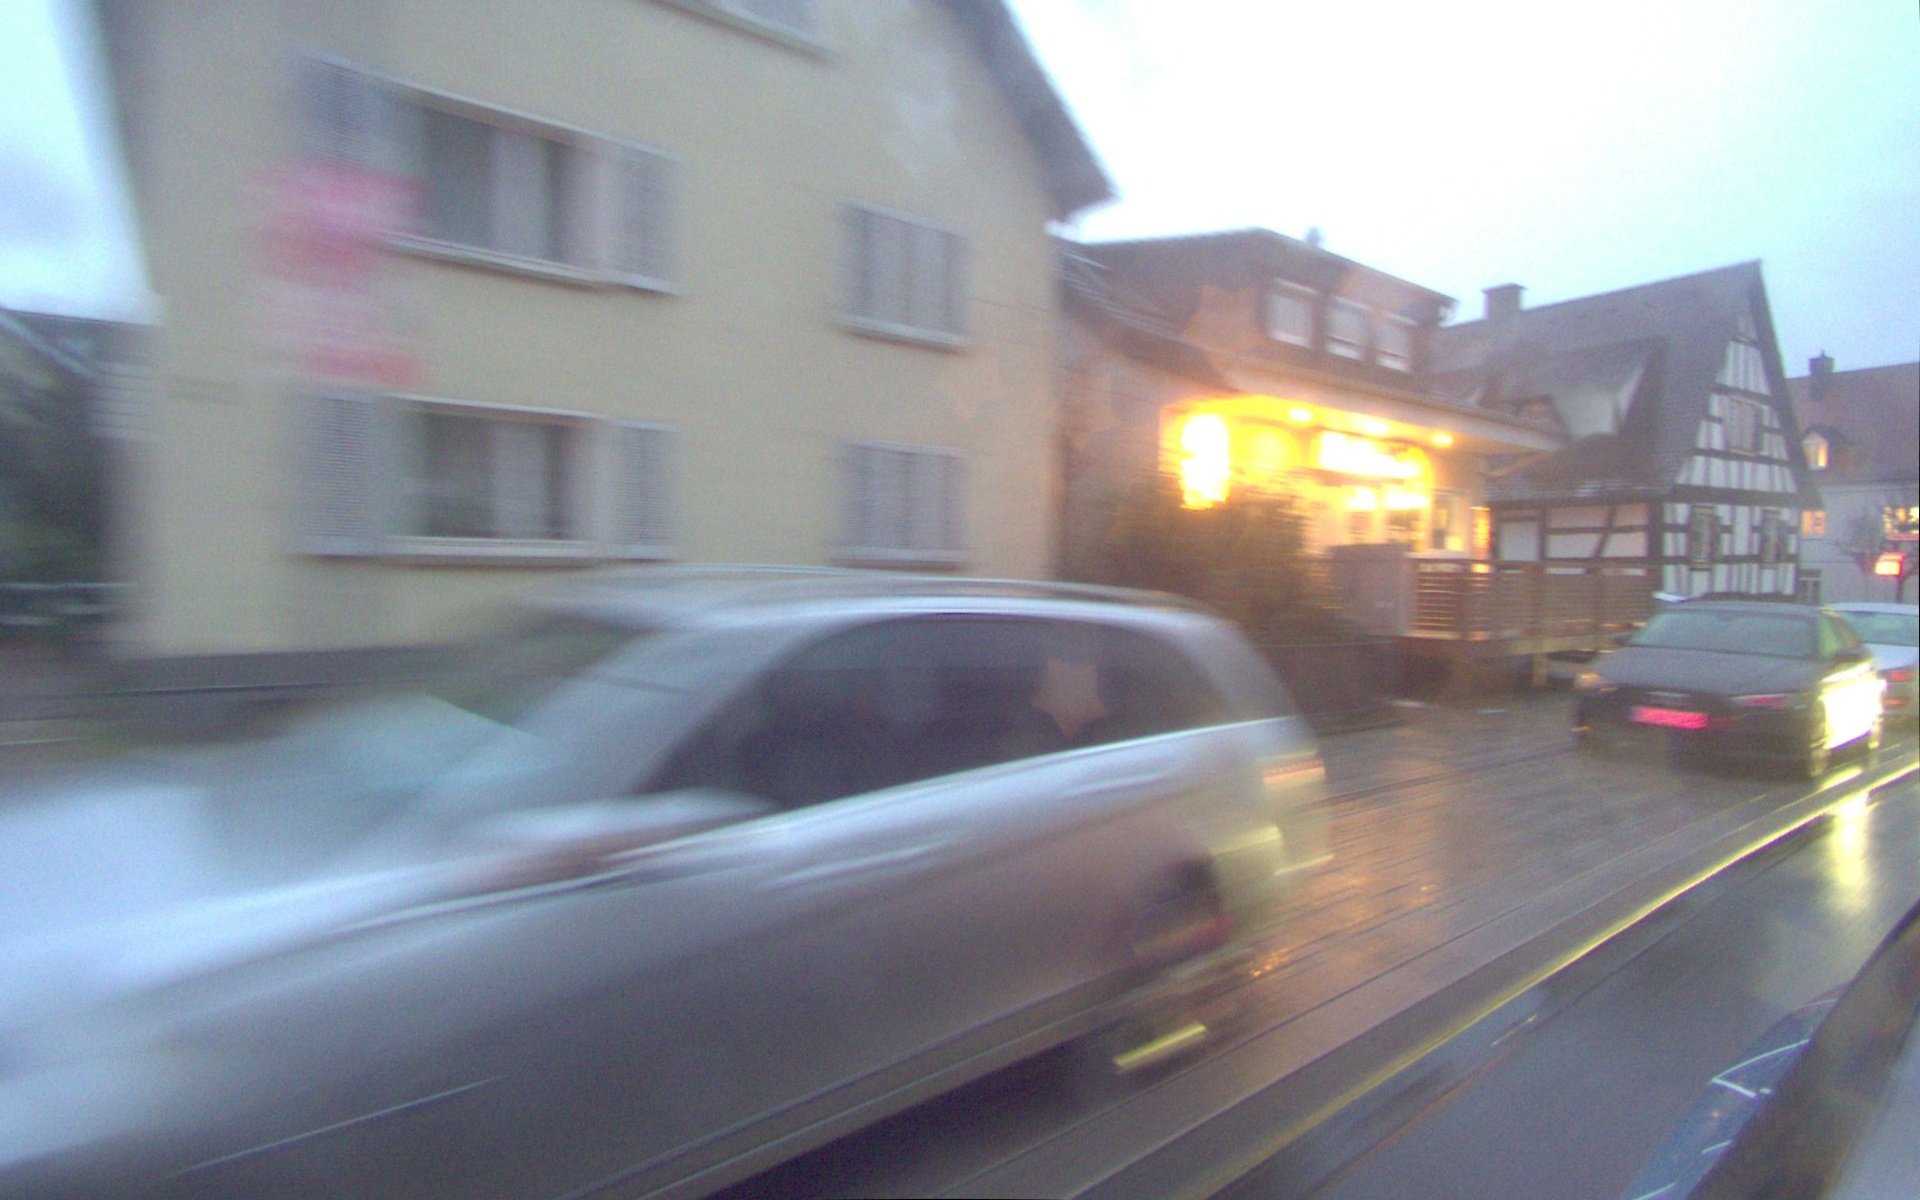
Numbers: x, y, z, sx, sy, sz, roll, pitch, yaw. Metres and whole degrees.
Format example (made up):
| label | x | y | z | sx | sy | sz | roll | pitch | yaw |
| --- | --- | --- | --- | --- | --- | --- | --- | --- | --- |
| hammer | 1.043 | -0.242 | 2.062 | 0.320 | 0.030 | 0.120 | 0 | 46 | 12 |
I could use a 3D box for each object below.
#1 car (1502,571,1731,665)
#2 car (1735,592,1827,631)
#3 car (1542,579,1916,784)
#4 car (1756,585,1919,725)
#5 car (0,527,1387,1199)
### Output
| label | x | y | z | sx | sy | sz | roll | pitch | yaw |
| --- | --- | --- | --- | --- | --- | --- | --- | --- | --- |
| car | 12.610 | 0.270 | 19.583 | 1.656 | 1.458 | 3.300 | -1 | 5 | -39 |
| car | 35.450 | 0.466 | 43.848 | 1.774 | 1.486 | 4.195 | 3 | 2 | 21 |
| car | 7.506 | 0.582 | 9.704 | 4.526 | 1.440 | 1.828 | 0 | 4 | -40 |
| car | 11.726 | 0.603 | 12.784 | 3.729 | 1.459 | 1.632 | 0 | 4 | -37 |
| car | -0.725 | 0.600 | 2.891 | 4.452 | 1.478 | 1.798 | 0 | 3 | -42 |
